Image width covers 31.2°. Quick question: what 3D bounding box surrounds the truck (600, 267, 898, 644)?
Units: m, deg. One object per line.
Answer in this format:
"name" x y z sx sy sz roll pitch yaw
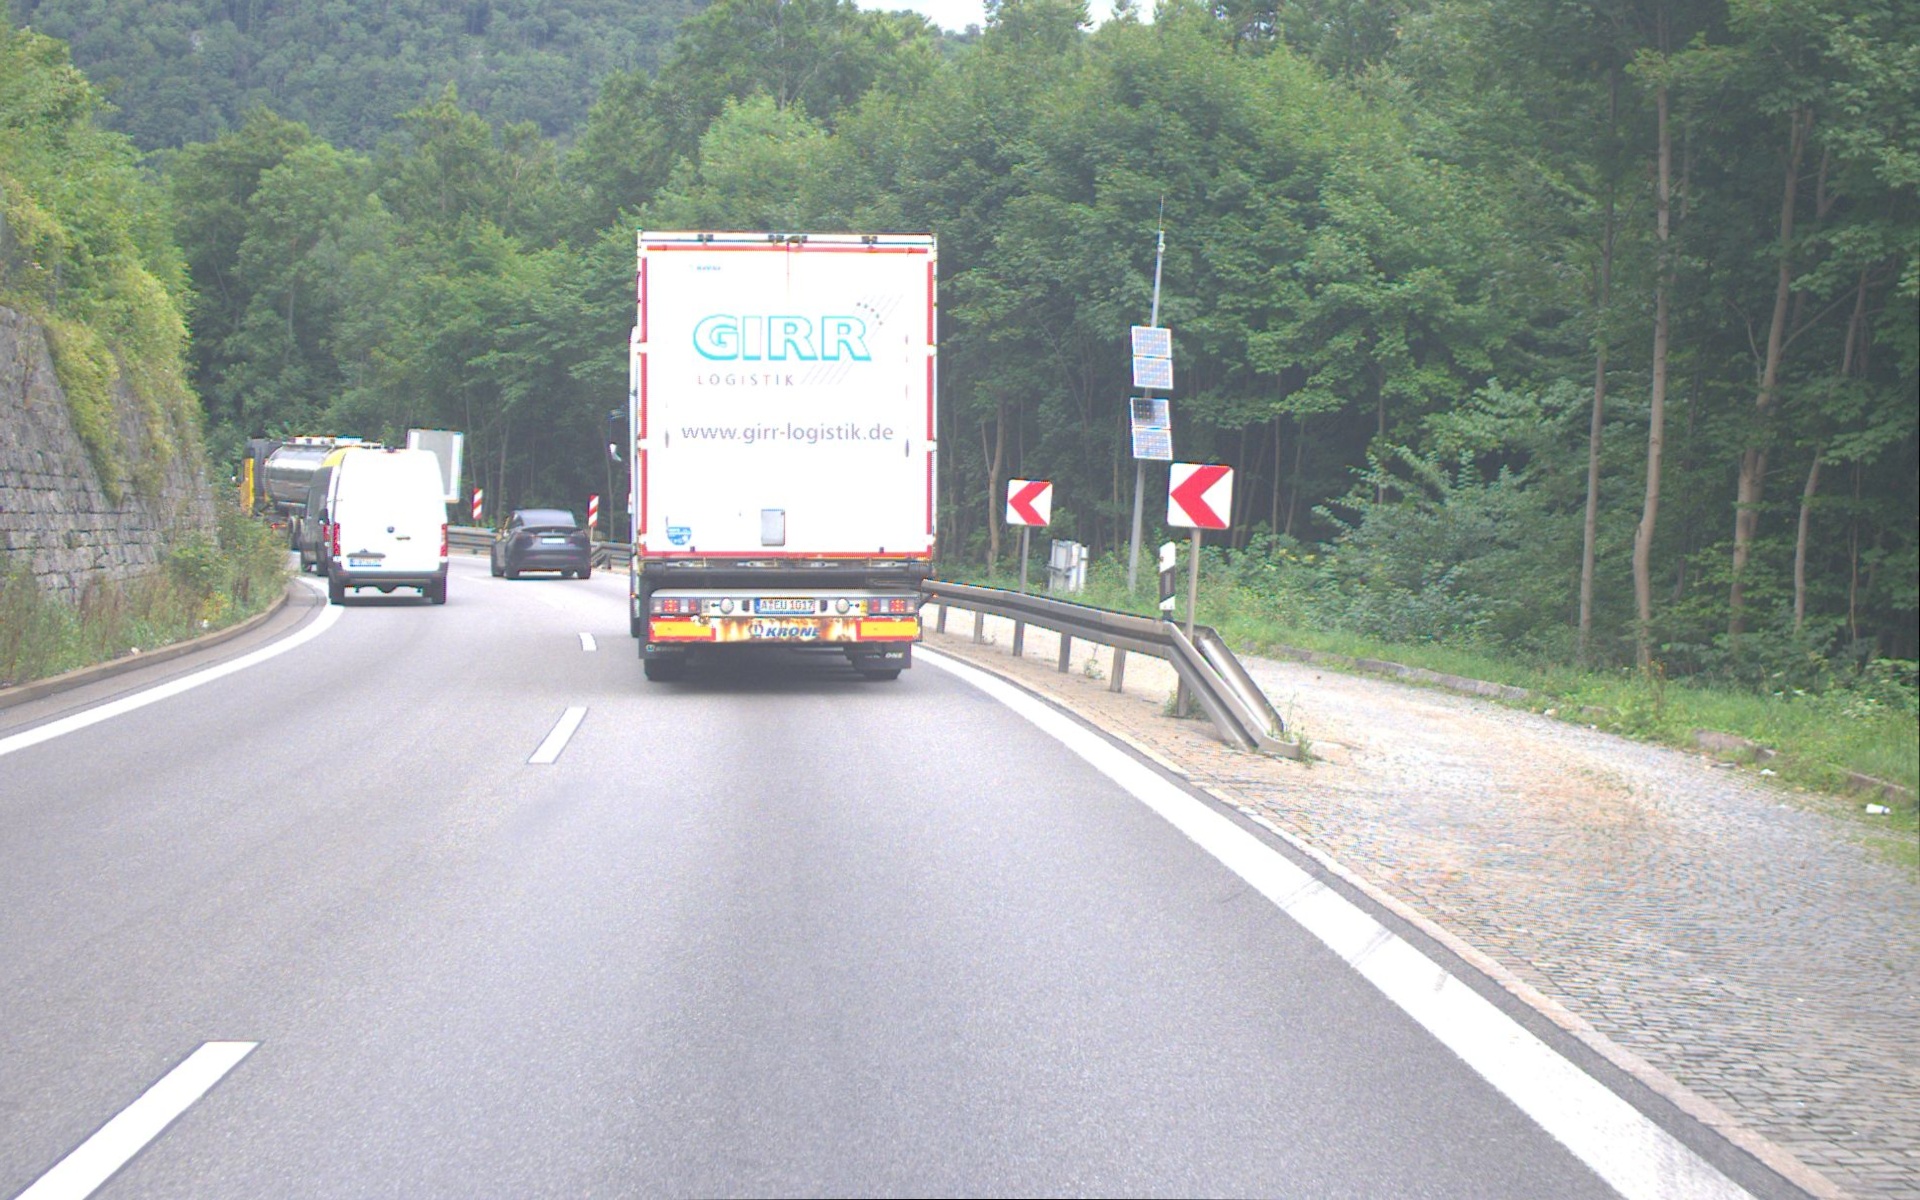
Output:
"truck" -2.657 -1.751 41.304 3.057 3.972 7.189 3 3 -6

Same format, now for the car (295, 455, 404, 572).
"car" -14.888 -2.128 83.615 1.939 2.663 5.993 2 1 -16

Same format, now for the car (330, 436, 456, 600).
"car" -10.139 -1.477 61.138 1.988 2.663 6.938 2 1 -10

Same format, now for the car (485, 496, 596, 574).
"car" -9.718 -1.511 79.375 1.993 1.656 4.002 2 1 -14

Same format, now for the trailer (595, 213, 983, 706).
"trailer" -2.013 -1.467 34.929 3.057 3.972 12.140 3 3 -6

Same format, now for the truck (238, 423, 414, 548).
"truck" -21.655 -3.951 116.611 3.057 3.972 13.703 -1 3 -22
